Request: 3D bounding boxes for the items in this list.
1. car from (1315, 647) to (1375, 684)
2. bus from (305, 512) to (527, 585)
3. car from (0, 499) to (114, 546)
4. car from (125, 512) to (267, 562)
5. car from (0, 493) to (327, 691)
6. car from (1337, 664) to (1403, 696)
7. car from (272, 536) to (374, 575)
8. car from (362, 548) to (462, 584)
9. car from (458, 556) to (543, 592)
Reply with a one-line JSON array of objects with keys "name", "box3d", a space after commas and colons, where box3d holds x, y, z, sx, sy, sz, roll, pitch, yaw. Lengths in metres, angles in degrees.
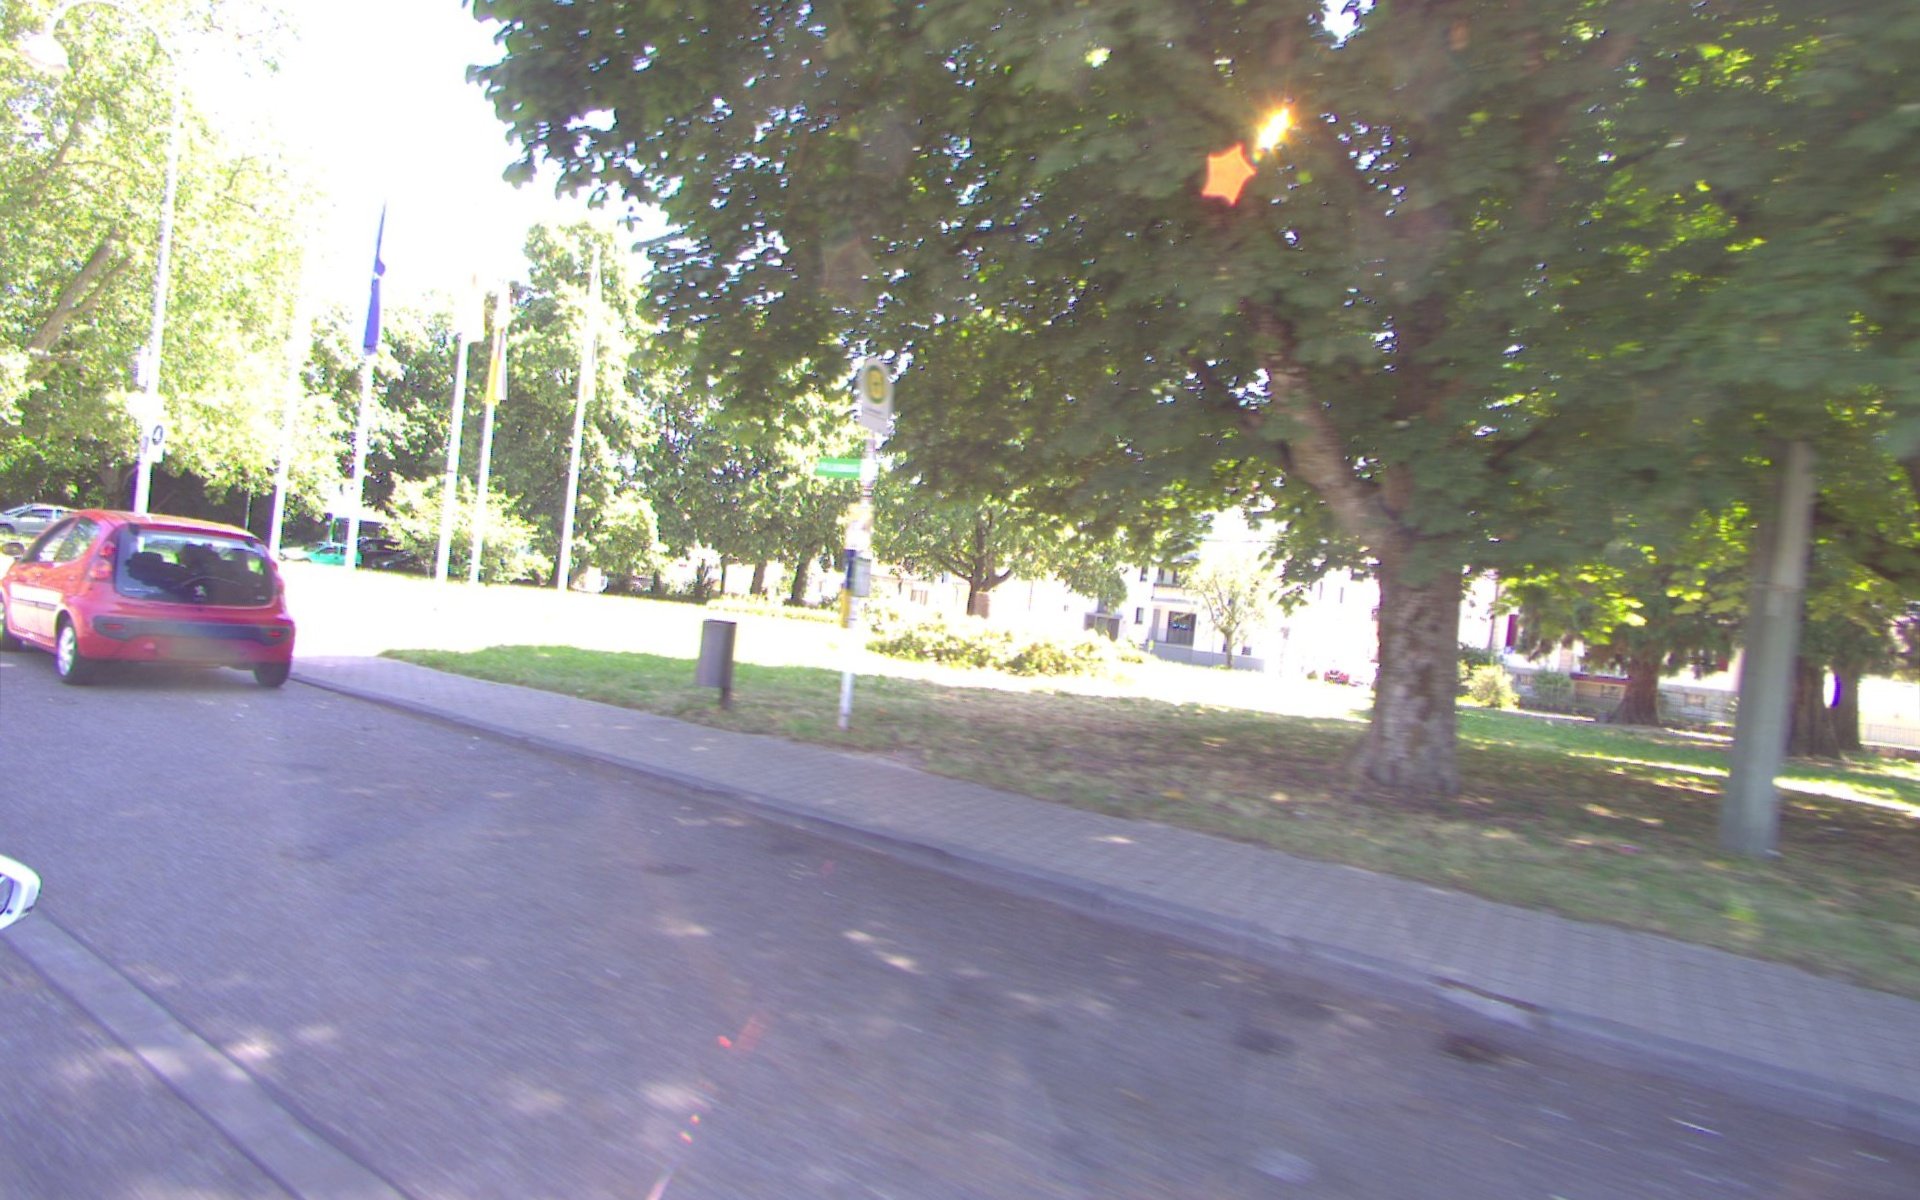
[{"name": "car", "box3d": [23.584, 4.012, 61.587, 3.734, 1.981, 1.810, 6, -2, -43]}, {"name": "bus", "box3d": [-32.967, -3.003, 61.952, 2.231, 3.013, 12.392, 5, -1, 32]}, {"name": "car", "box3d": [-38.816, -3.328, 42.645, 1.969, 1.484, 4.106, 6, 0, 35]}, {"name": "car", "box3d": [-35.321, -2.904, 46.634, 1.969, 1.627, 4.824, 6, -1, 36]}, {"name": "car", "box3d": [-7.837, -0.124, 9.606, 3.649, 1.497, 1.718, 6, 0, 36]}, {"name": "car", "box3d": [23.731, 4.606, 58.148, 3.663, 1.451, 1.455, 6, 1, -29]}, {"name": "car", "box3d": [-32.727, -2.260, 51.733, 1.968, 1.471, 3.885, 5, -2, 33]}, {"name": "car", "box3d": [-30.195, -1.865, 55.567, 1.968, 1.433, 4.343, 5, -2, 33]}, {"name": "car", "box3d": [-27.278, -1.515, 59.868, 1.968, 1.627, 4.101, 5, -2, 34]}]
